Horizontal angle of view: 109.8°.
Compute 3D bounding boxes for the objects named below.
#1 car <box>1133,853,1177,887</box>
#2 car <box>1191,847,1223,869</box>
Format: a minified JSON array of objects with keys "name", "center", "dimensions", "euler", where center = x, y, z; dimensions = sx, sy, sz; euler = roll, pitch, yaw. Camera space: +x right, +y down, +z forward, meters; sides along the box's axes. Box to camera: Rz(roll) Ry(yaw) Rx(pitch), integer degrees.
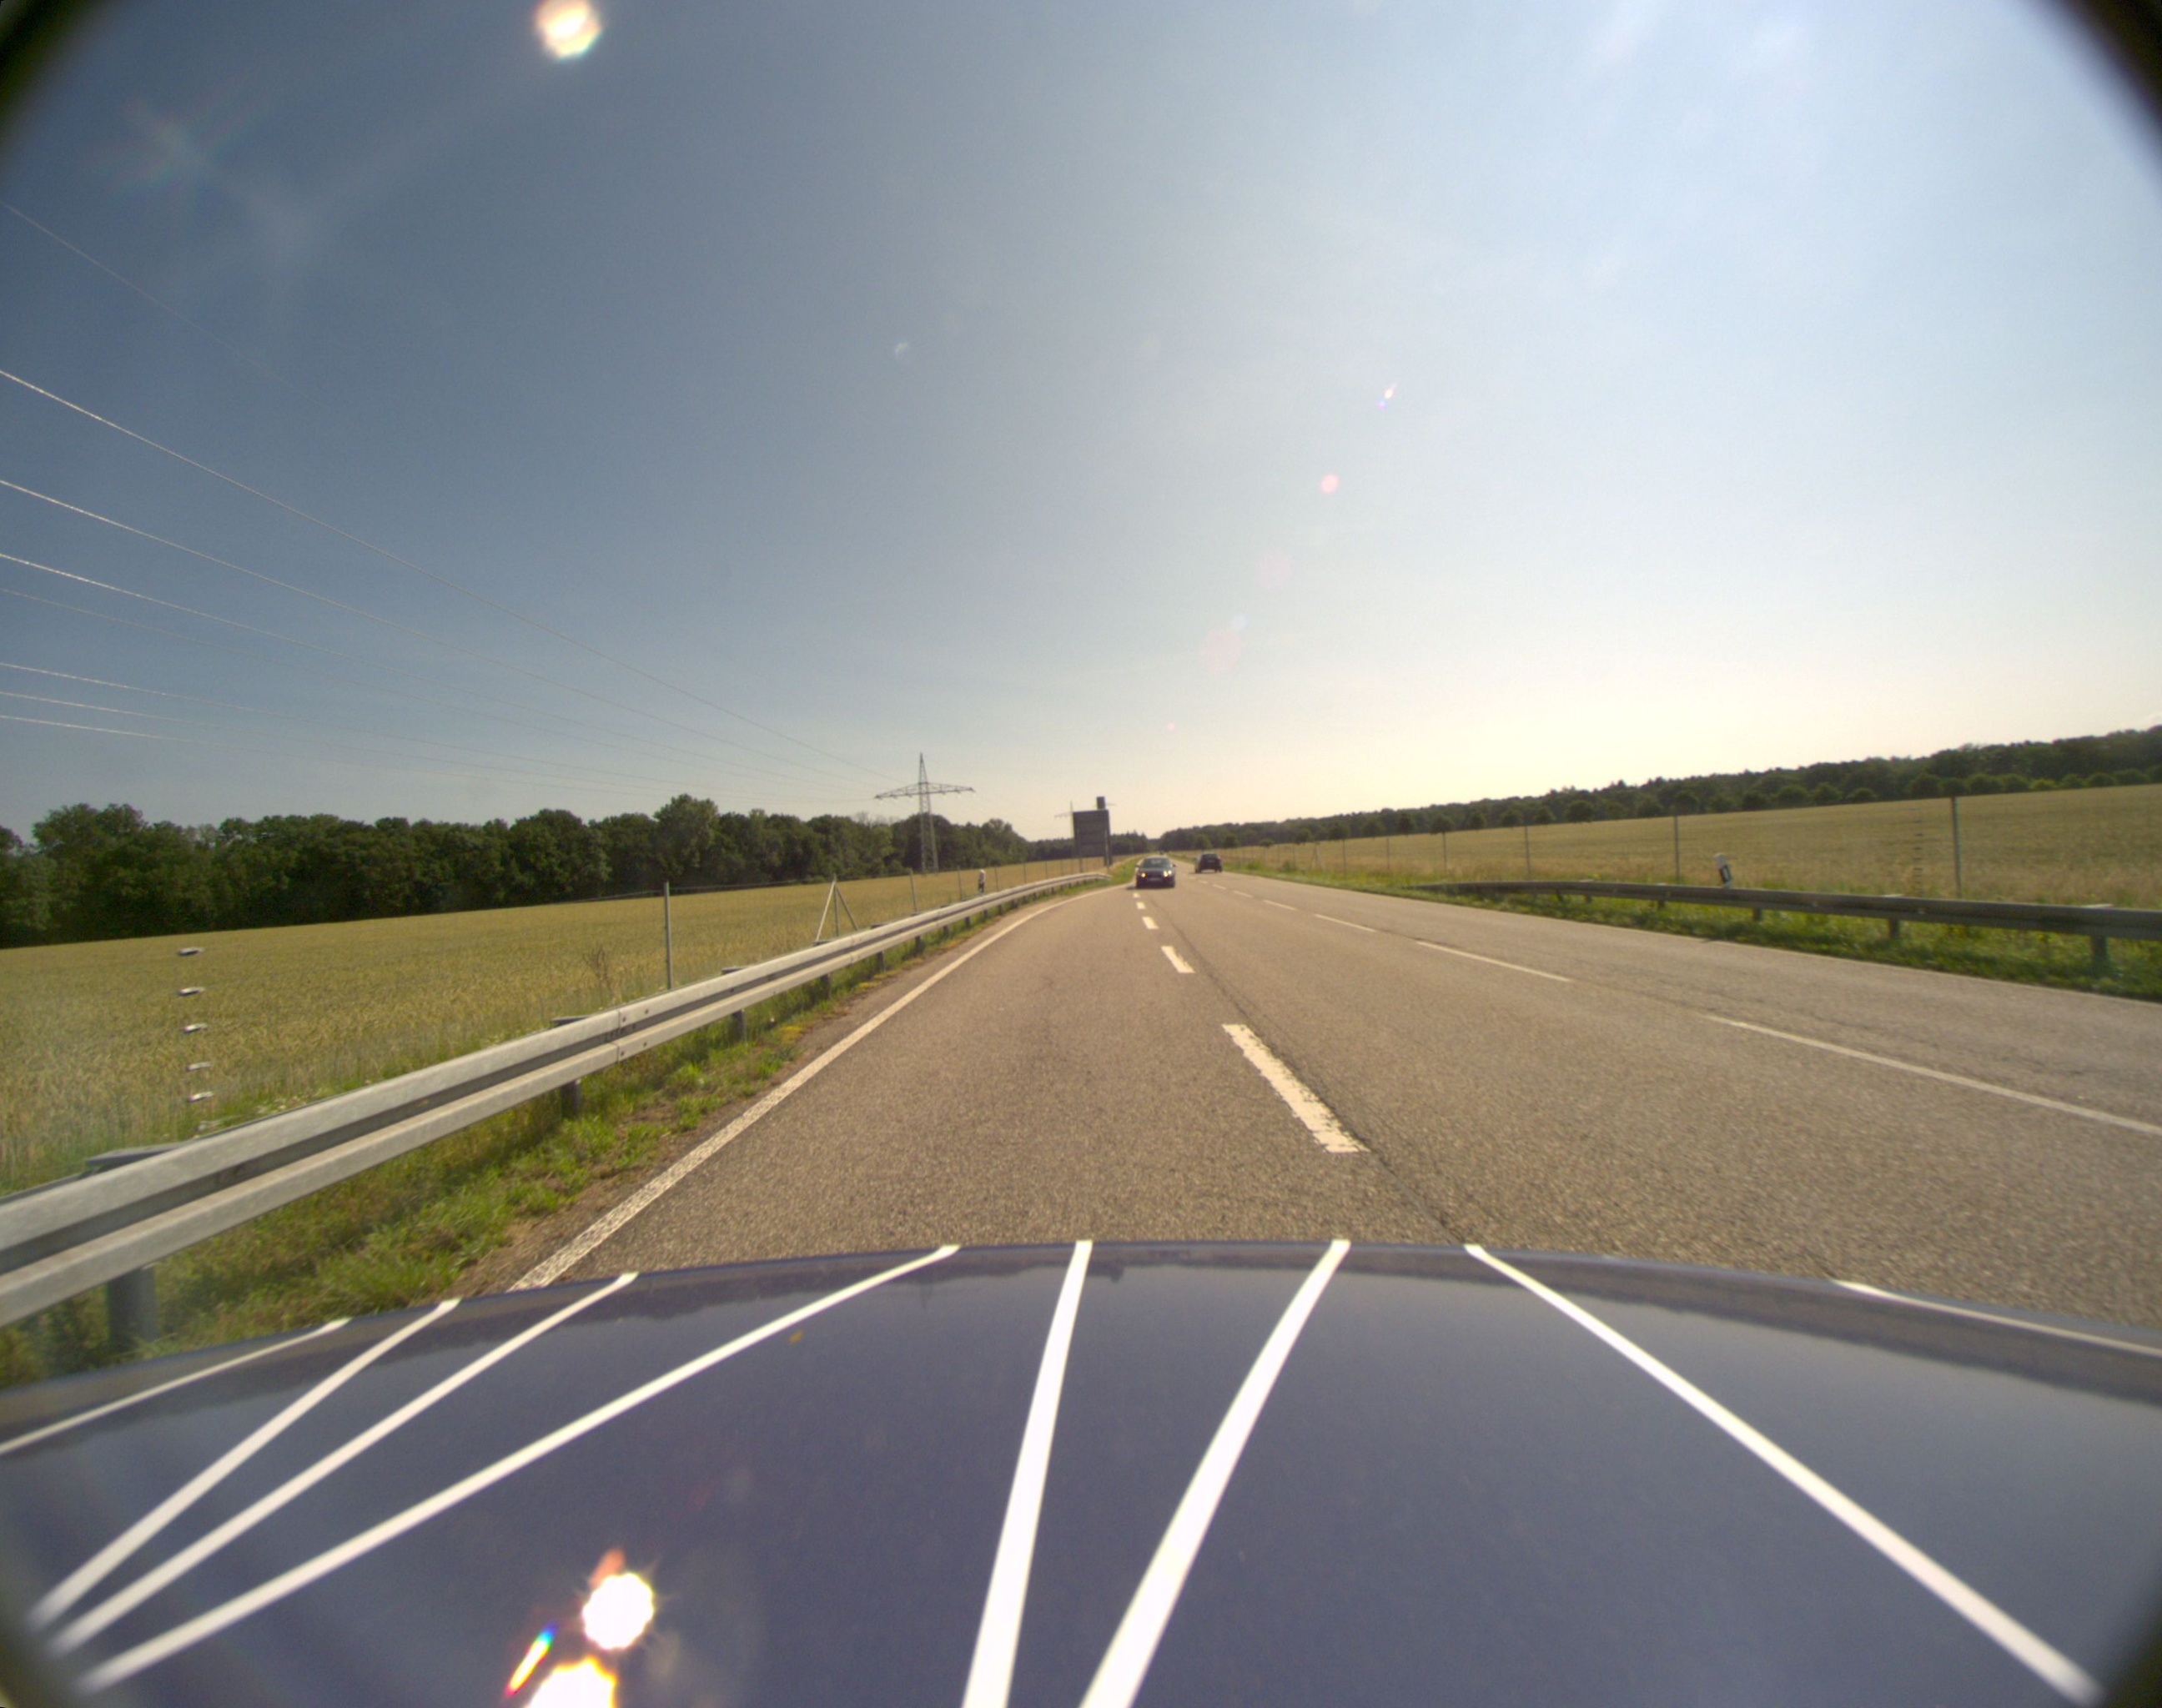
[{"name":"car","center":[3.435,0.720,35.645],"dimensions":[1.886,1.448,4.077],"euler":[-1,0,4]},{"name":"car","center":[9.631,0.291,58.262],"dimensions":[1.833,1.499,4.162],"euler":[-2,0,2]}]
